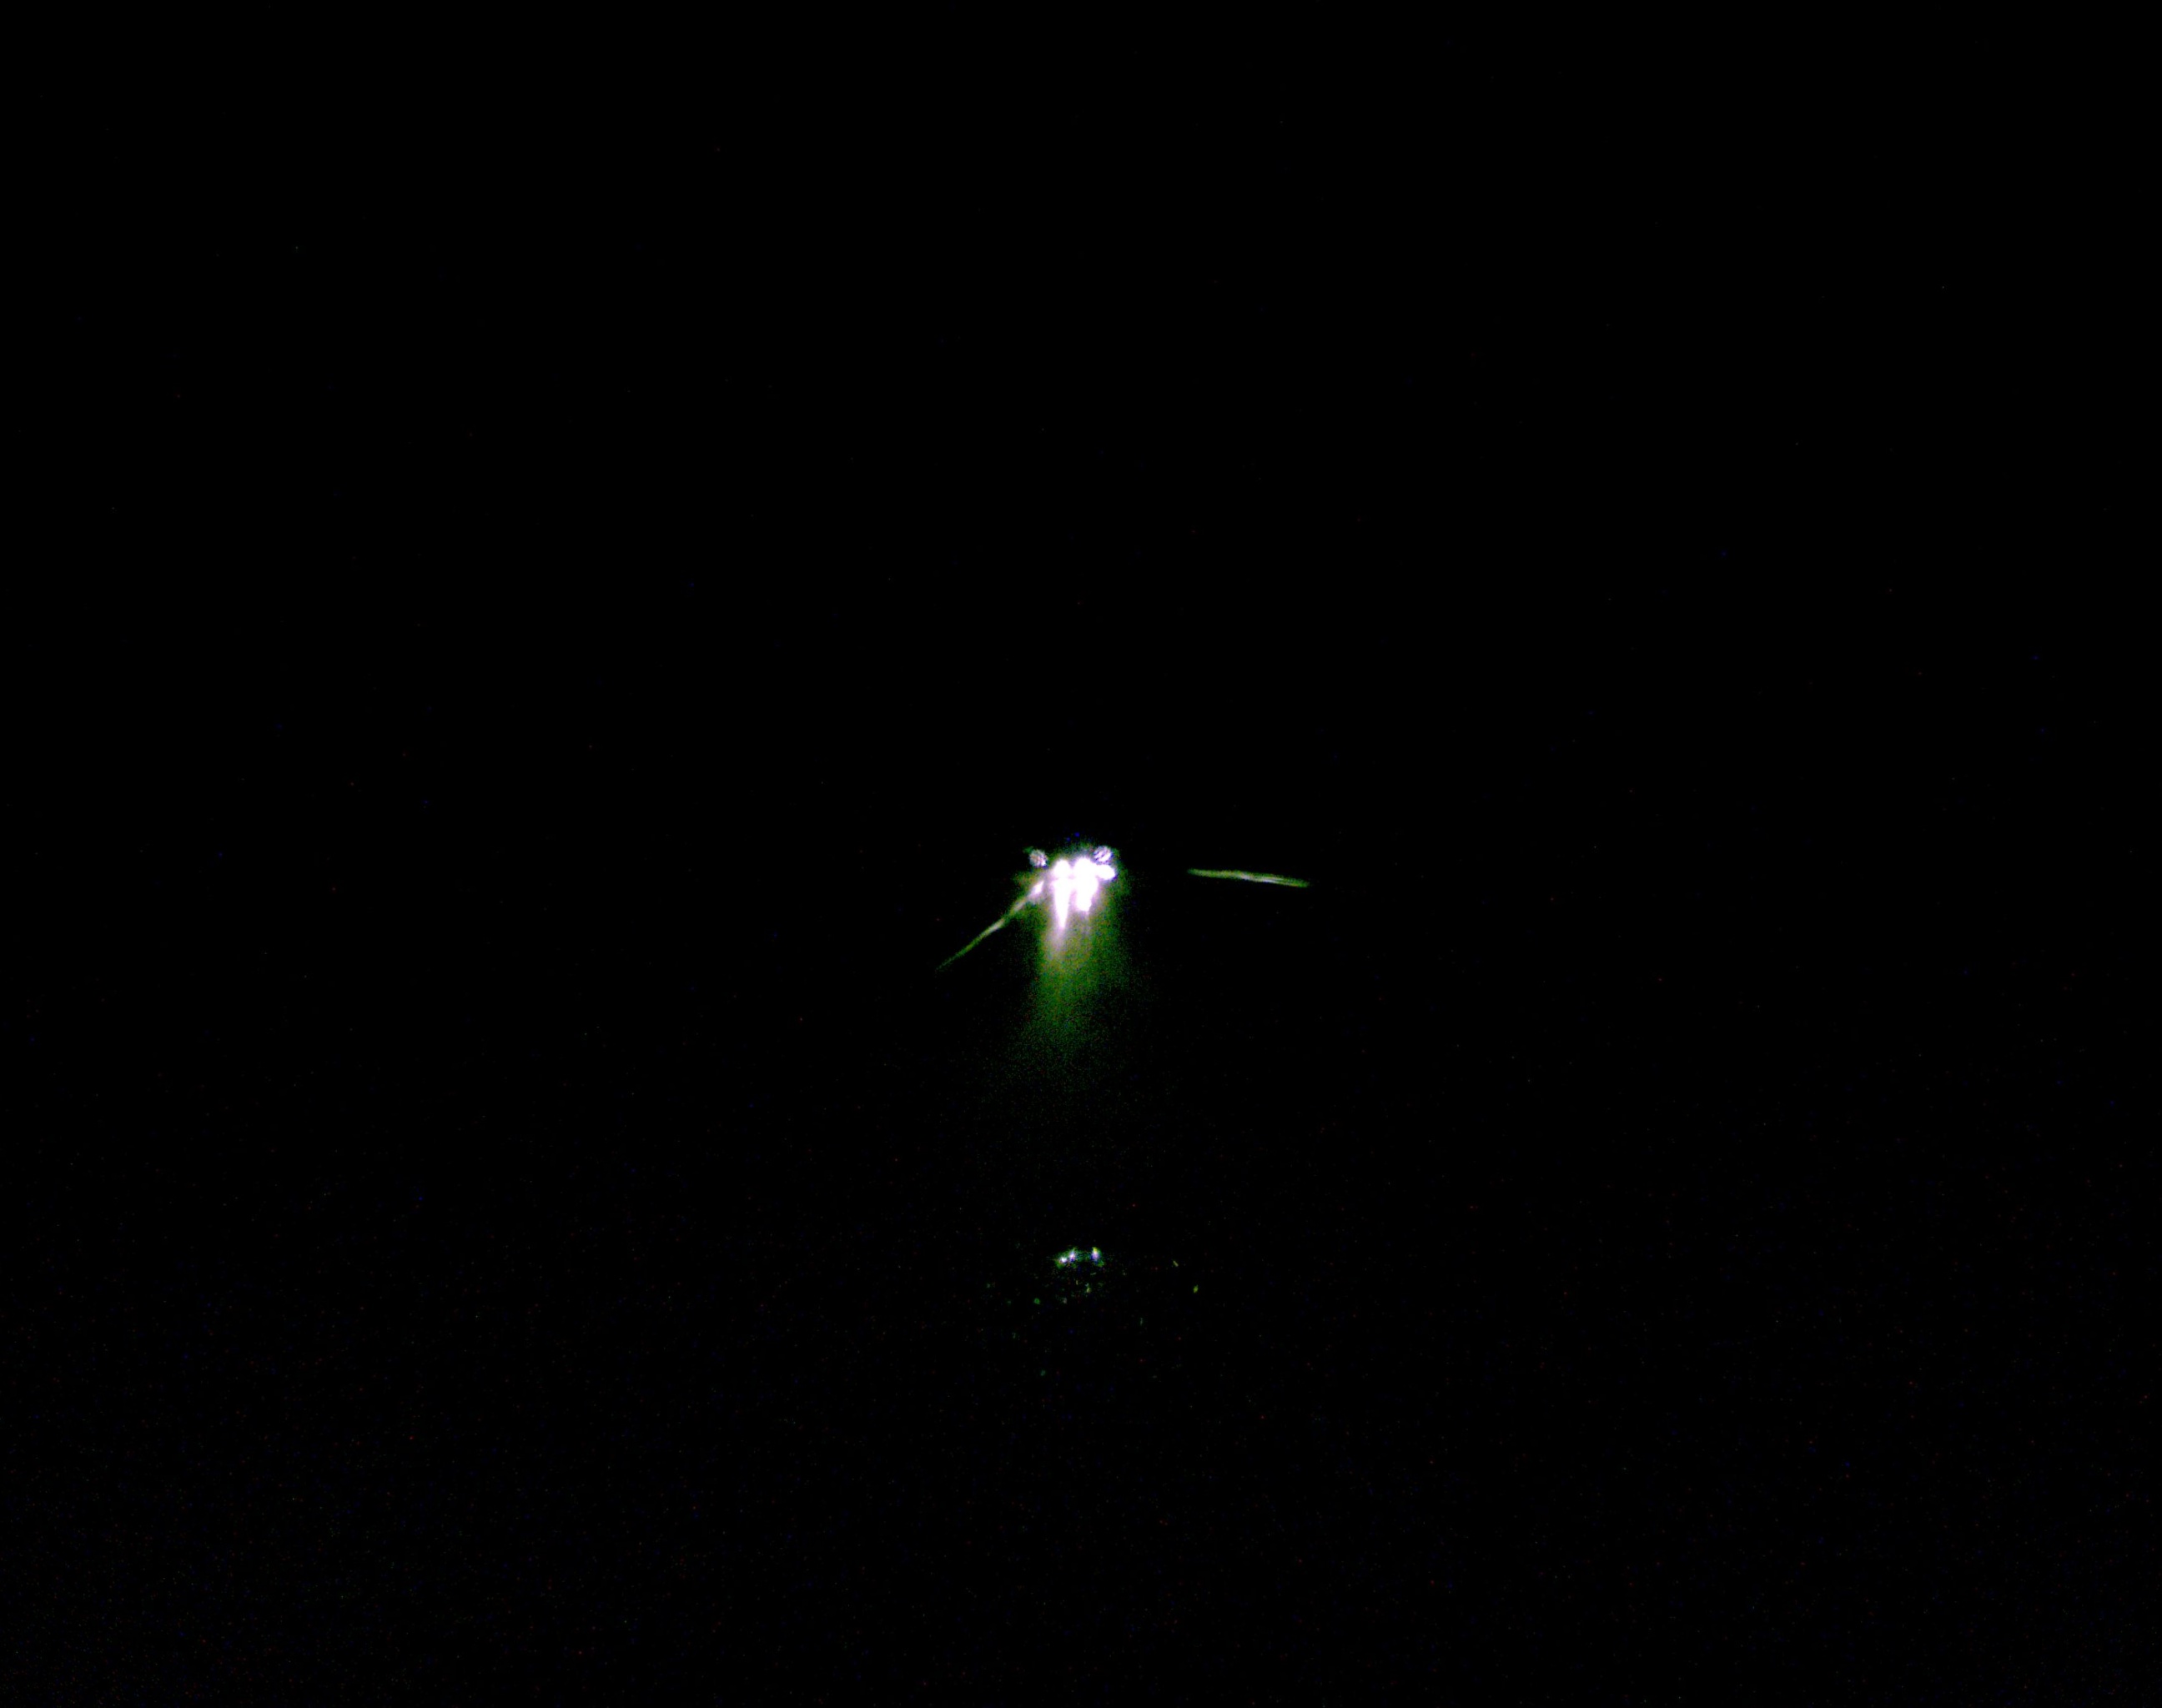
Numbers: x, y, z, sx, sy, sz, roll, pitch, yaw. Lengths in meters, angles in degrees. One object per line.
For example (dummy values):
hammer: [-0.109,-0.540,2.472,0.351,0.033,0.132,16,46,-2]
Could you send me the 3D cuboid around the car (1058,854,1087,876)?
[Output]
car: [-0.655,0.752,54.656,1.777,1.444,4.133,-2,0,-5]
